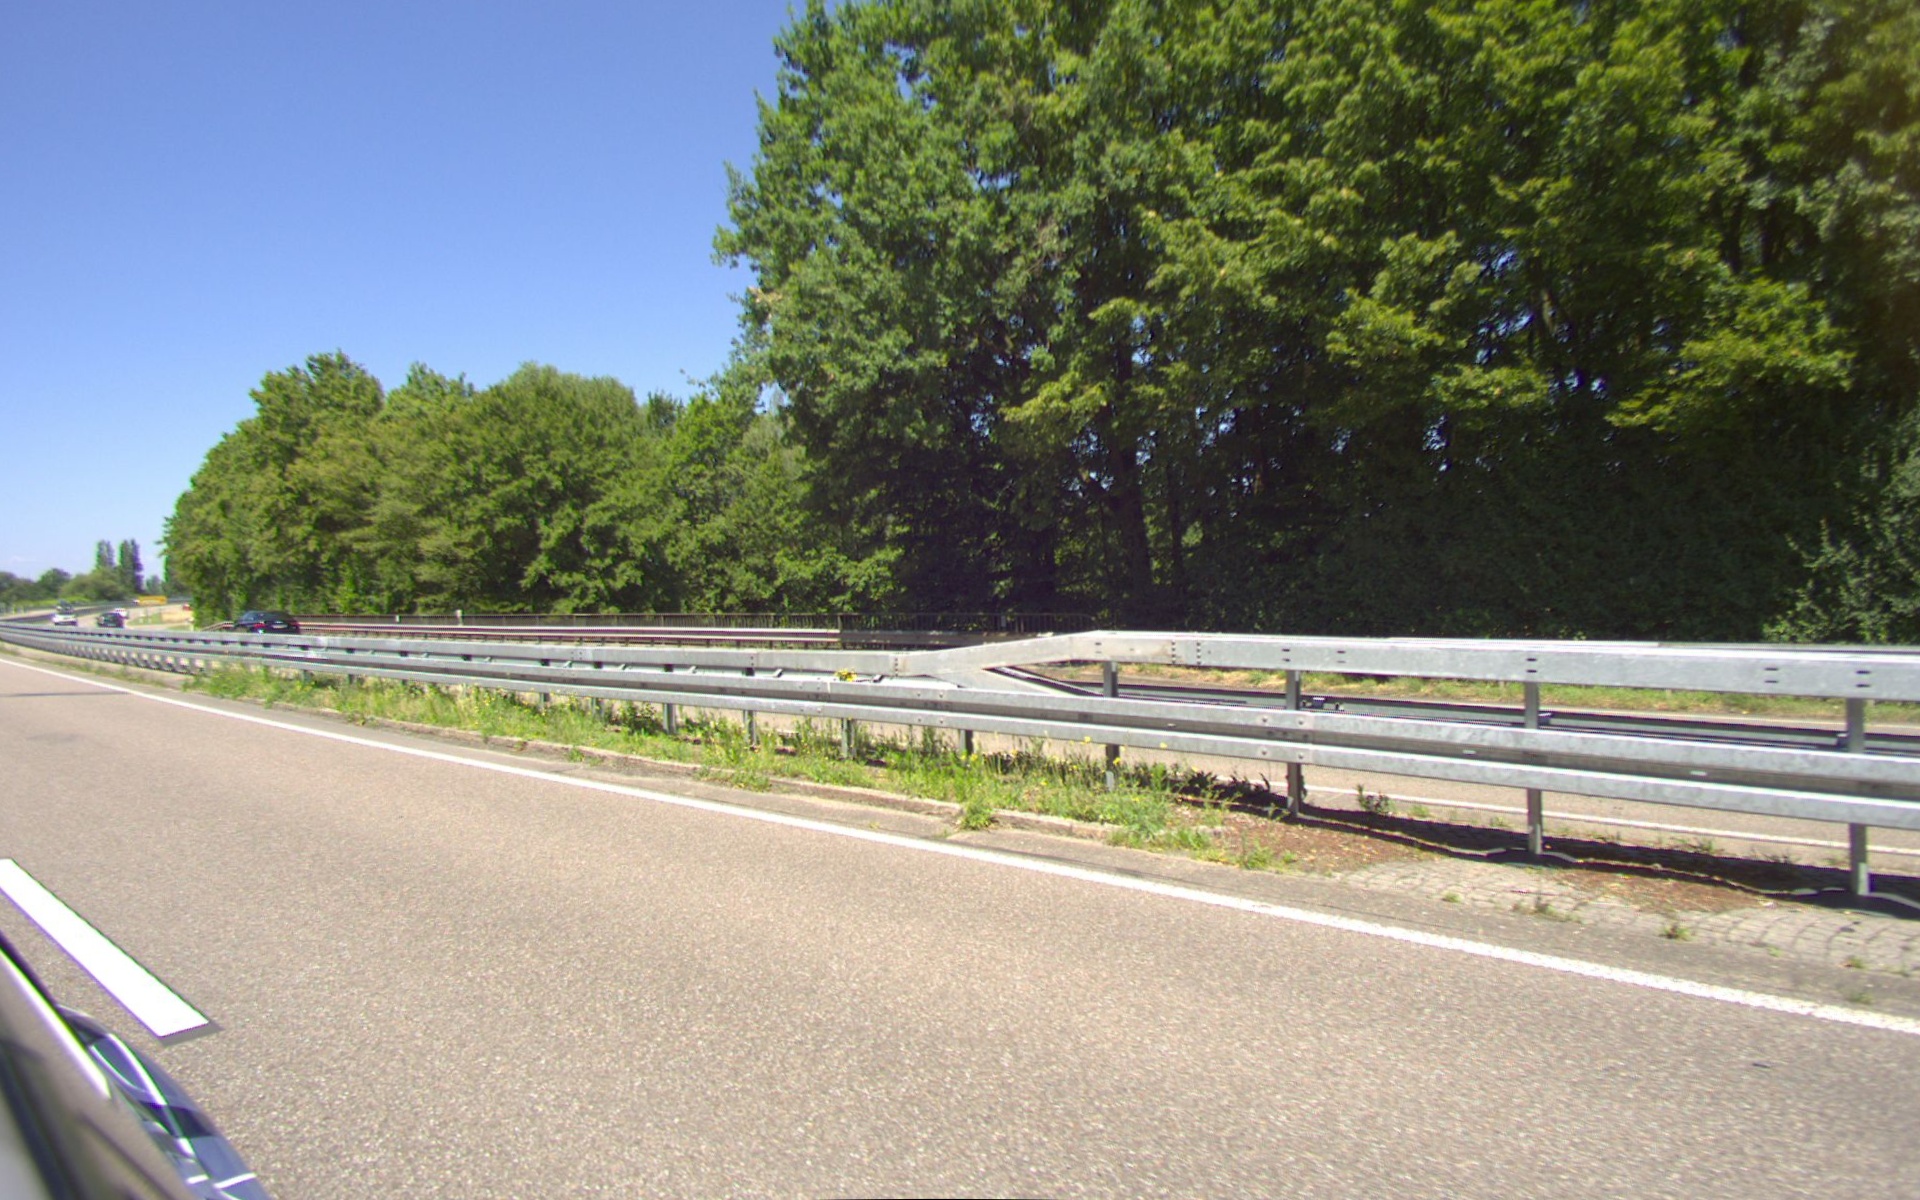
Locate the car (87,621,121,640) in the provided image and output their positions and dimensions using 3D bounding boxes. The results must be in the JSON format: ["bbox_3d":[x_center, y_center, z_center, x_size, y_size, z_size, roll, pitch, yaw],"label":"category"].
[{"bbox_3d":[-71.295,2.546,84.236,3.997,1.540,1.634,-1,-1,42],"label":"car"}]

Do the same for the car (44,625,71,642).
[{"bbox_3d":[-88.535,3.274,99.232,4.220,1.619,1.633,-1,-1,44],"label":"car"}]

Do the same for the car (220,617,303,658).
[{"bbox_3d":[-28.769,1.516,41.636,4.682,1.540,1.737,-1,-1,42],"label":"car"}]
